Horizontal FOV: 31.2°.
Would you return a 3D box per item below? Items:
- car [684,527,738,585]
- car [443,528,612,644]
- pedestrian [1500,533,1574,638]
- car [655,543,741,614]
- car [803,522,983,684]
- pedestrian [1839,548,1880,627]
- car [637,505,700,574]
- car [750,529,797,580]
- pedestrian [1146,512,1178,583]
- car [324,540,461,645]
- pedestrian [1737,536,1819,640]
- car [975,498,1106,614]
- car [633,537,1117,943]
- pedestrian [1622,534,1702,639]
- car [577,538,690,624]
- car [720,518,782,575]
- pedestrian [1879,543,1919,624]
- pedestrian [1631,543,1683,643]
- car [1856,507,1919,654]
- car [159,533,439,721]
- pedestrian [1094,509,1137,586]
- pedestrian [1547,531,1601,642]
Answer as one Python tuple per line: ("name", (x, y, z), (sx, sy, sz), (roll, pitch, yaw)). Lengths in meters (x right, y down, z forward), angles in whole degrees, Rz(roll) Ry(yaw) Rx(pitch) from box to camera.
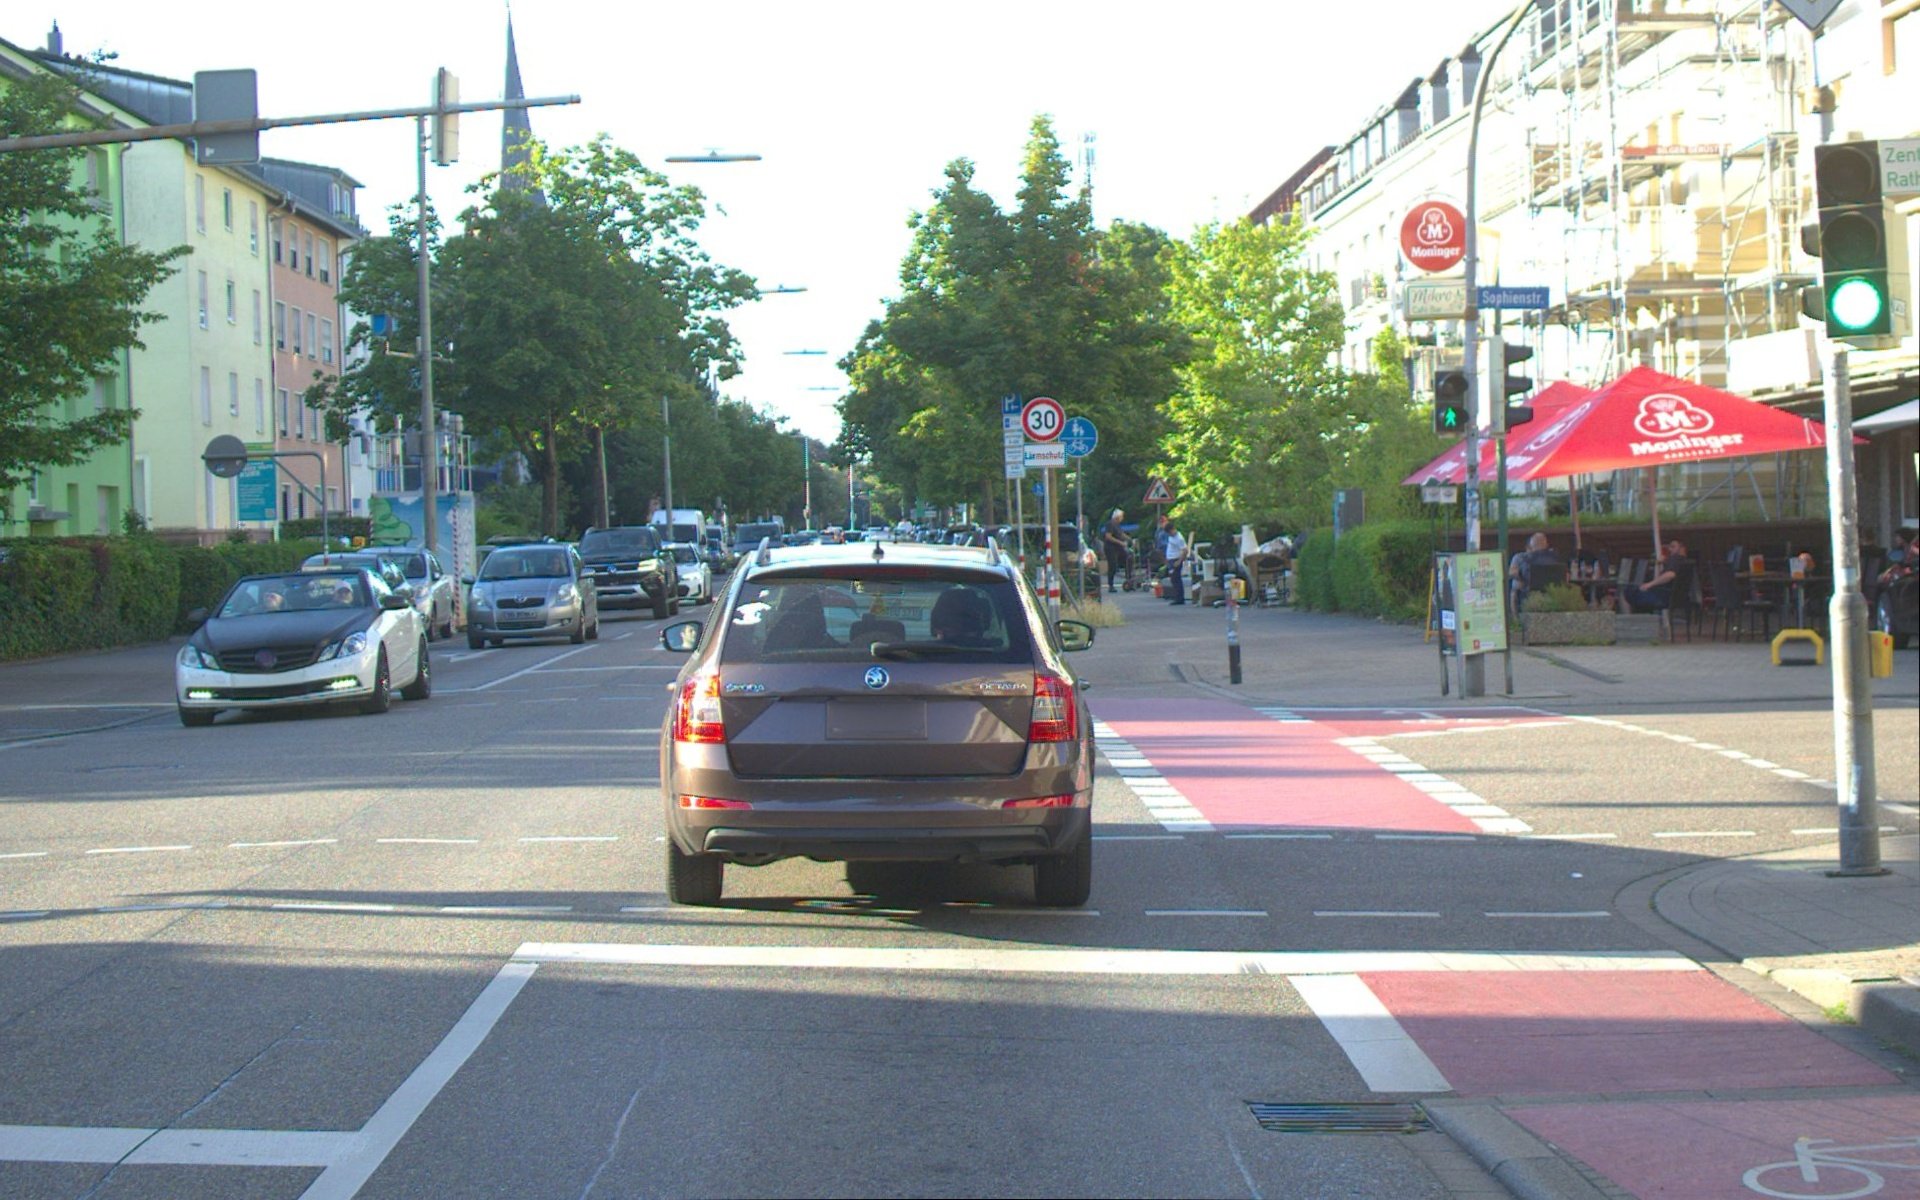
("car", (-10.278, -1.845, 142.022), (1.993, 2.319, 4.000), (-1, 1, -1))
("car", (-6.358, -0.238, 50.914), (1.993, 1.605, 4.000), (-1, 1, 0))
("pedestrian", (6.663, -0.174, 39.733), (0.677, 1.194, 0.855), (-1, 1, 0))
("car", (-6.027, -0.527, 79.547), (1.704, 1.545, 4.002), (-1, 1, -1))
("car", (-0.669, -0.008, 35.566), (1.737, 1.565, 4.000), (1, 1, 0))
("pedestrian", (11.603, -0.164, 44.361), (0.372, 0.992, 0.522), (-1, 1, -1))
("car", (-10.768, -2.241, 127.281), (1.993, 2.469, 4.000), (-1, 1, -1))
("car", (-8.696, -2.144, 160.283), (1.993, 2.319, 4.000), (-1, 1, -1))
("pedestrian", (4.524, -1.176, 77.141), (0.578, 1.557, 0.520), (-1, 1, -10))
("car", (-9.173, -0.152, 55.804), (1.560, 1.612, 4.000), (-1, 1, 0))
("pedestrian", (9.554, -0.148, 40.187), (0.729, 1.194, 0.855), (-1, 1, 0))
("car", (1.292, -0.709, 54.976), (1.993, 1.766, 4.000), (1, 1, 2))
("car", (-0.371, 0.472, 14.764), (1.773, 1.484, 4.311), (0, 1, -2))
("pedestrian", (8.175, -0.162, 40.037), (0.729, 1.194, 0.855), (-1, 1, 0))
("car", (-6.214, -0.390, 65.680), (1.787, 1.565, 4.000), (1, 1, 0))
("car", (-7.534, -1.942, 124.330), (1.993, 2.007, 4.000), (-1, 1, -1))
("pedestrian", (11.770, -0.212, 43.041), (0.372, 0.992, 0.522), (-1, 1, -1))
("pedestrian", (8.304, -0.087, 40.965), (0.505, 1.172, 0.428), (-1, 1, -1))
("car", (10.552, -0.223, 34.980), (1.776, 1.481, 4.000), (-1, 1, 0))
("car", (-5.998, 0.195, 31.628), (1.830, 1.574, 4.000), (-2, 1, -1))
("pedestrian", (3.467, -1.182, 76.680), (0.675, 1.698, 0.800), (-1, 1, 25))
("pedestrian", (7.280, -0.159, 40.771), (0.499, 1.298, 0.507), (-1, 1, -4))
